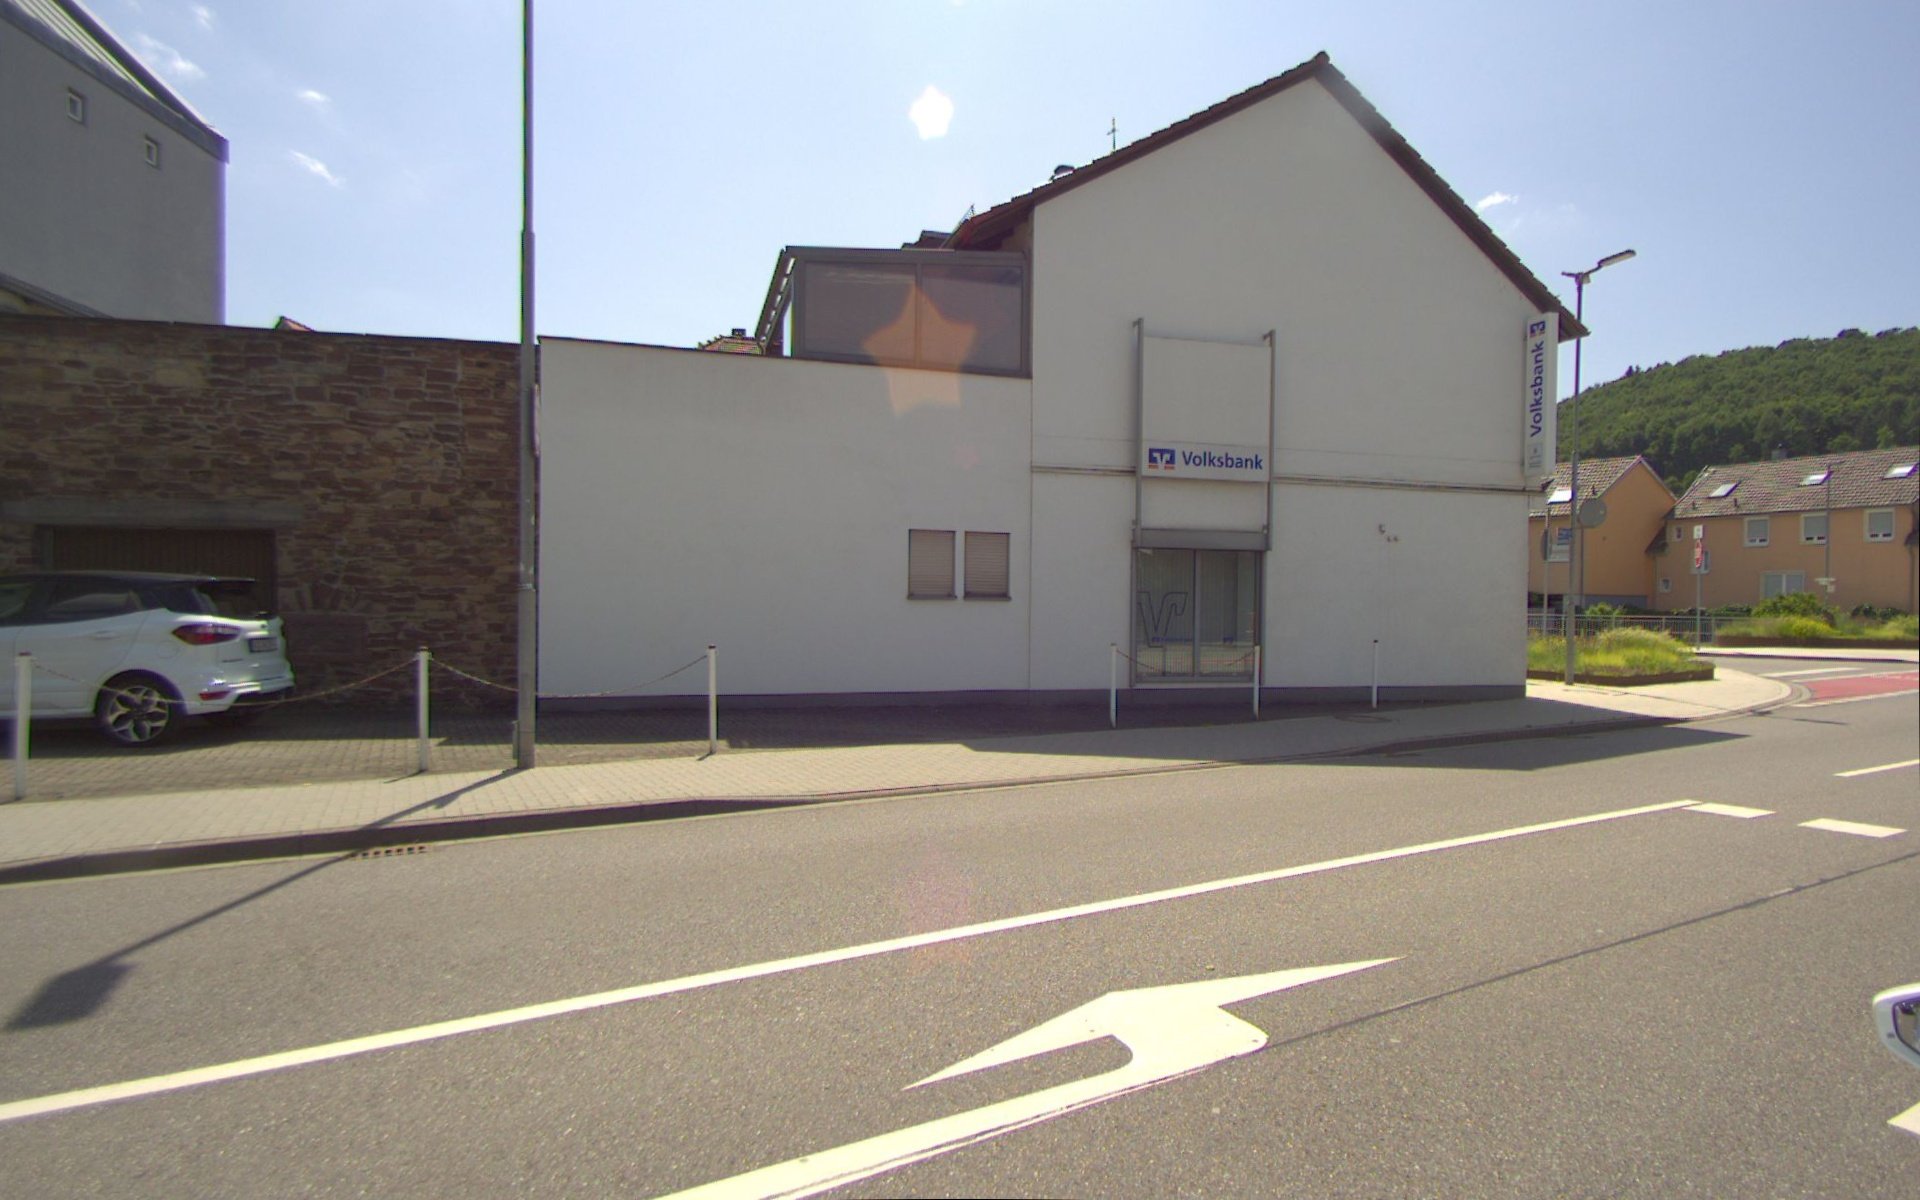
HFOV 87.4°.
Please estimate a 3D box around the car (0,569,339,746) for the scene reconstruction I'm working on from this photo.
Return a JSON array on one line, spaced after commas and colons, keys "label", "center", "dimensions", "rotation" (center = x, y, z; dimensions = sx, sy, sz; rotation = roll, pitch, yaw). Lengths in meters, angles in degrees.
[{"label": "car", "center": [-8.933, 0.525, 10.022], "dimensions": [4.176, 1.596, 1.997], "rotation": [0, 0, -10]}]
